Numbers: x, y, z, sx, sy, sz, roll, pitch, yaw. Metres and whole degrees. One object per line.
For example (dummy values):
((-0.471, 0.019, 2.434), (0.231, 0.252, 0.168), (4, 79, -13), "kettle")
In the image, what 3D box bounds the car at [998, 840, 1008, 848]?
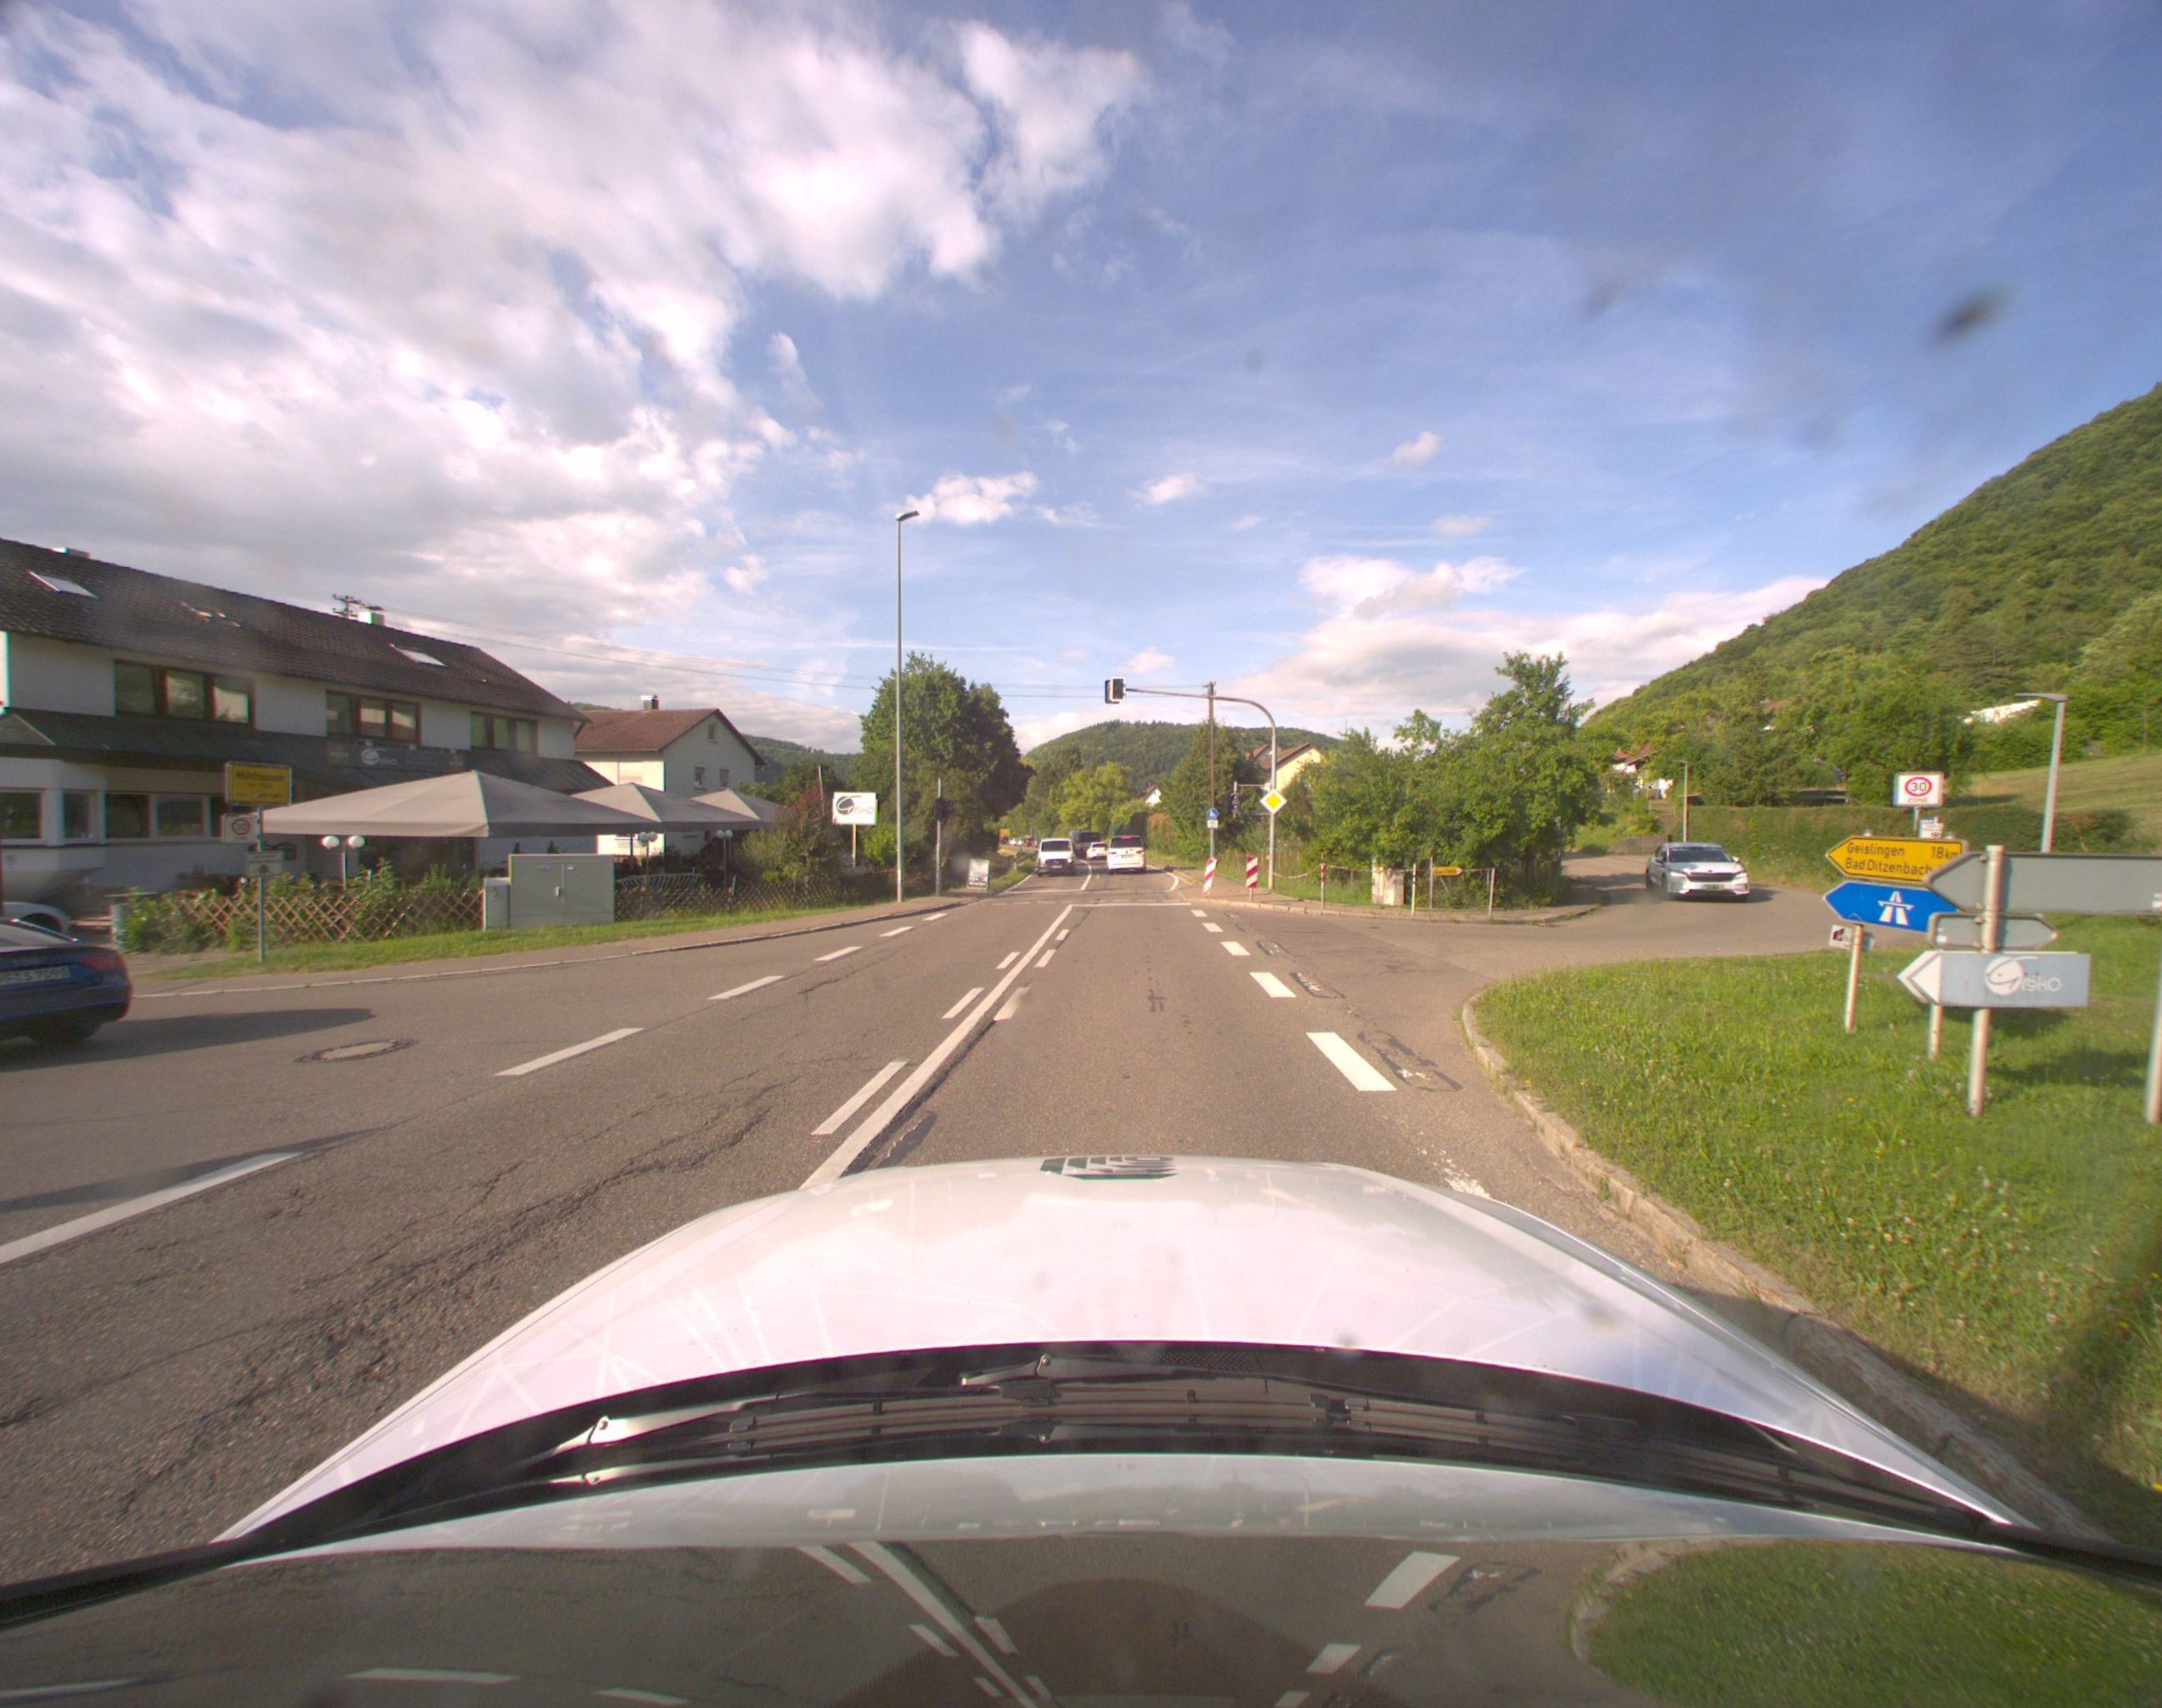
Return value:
((-16.953, -2.180, 177.355), (1.773, 1.782, 3.984), (-2, 1, -12), "car")

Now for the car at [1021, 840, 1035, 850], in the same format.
((-9.262, -1.639, 142.452), (2.041, 1.683, 3.987), (-1, 1, -10), "car")

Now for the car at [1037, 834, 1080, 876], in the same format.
((-1.093, -0.003, 41.709), (1.987, 1.903, 5.252), (-2, 1, 0), "car")

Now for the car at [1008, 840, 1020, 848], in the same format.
((-13.189, -1.936, 160.082), (1.944, 1.424, 3.984), (-1, 1, -12), "car")

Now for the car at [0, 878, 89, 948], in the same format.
((-23.703, 1.312, 16.220), (1.982, 1.389, 4.587), (-2, 1, 8), "car")

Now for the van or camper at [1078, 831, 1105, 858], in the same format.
((0.932, -0.914, 76.836), (2.175, 2.385, 5.364), (-1, 1, -3), "van or camper")

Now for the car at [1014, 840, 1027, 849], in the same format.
((-11.247, -1.713, 150.987), (1.943, 1.684, 3.984), (-2, 1, -12), "car")

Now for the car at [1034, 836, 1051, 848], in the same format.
((-5.982, -1.919, 126.608), (1.799, 1.793, 3.982), (-1, 1, -14), "car")

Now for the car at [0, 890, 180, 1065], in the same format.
((-11.201, 1.147, 7.397), (4.192, 1.409, 1.839), (-2, 1, 5), "car")

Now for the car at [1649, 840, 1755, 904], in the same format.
((17.885, 0.418, 23.663), (1.850, 1.610, 4.601), (0, 2, 30), "car")

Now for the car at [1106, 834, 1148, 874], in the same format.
((2.318, -0.039, 41.655), (1.986, 1.876, 4.875), (1, 2, 2), "car")

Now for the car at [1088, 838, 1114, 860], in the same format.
((1.617, -0.441, 67.294), (1.988, 1.683, 3.999), (-1, 1, -1), "car")

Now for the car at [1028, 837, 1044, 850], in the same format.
((-7.401, -1.778, 133.582), (1.995, 2.013, 3.984), (-1, 1, -12), "car")

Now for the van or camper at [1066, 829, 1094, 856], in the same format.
((-0.119, -1.284, 91.591), (2.412, 2.904, 6.117), (-1, 1, -7), "van or camper")
